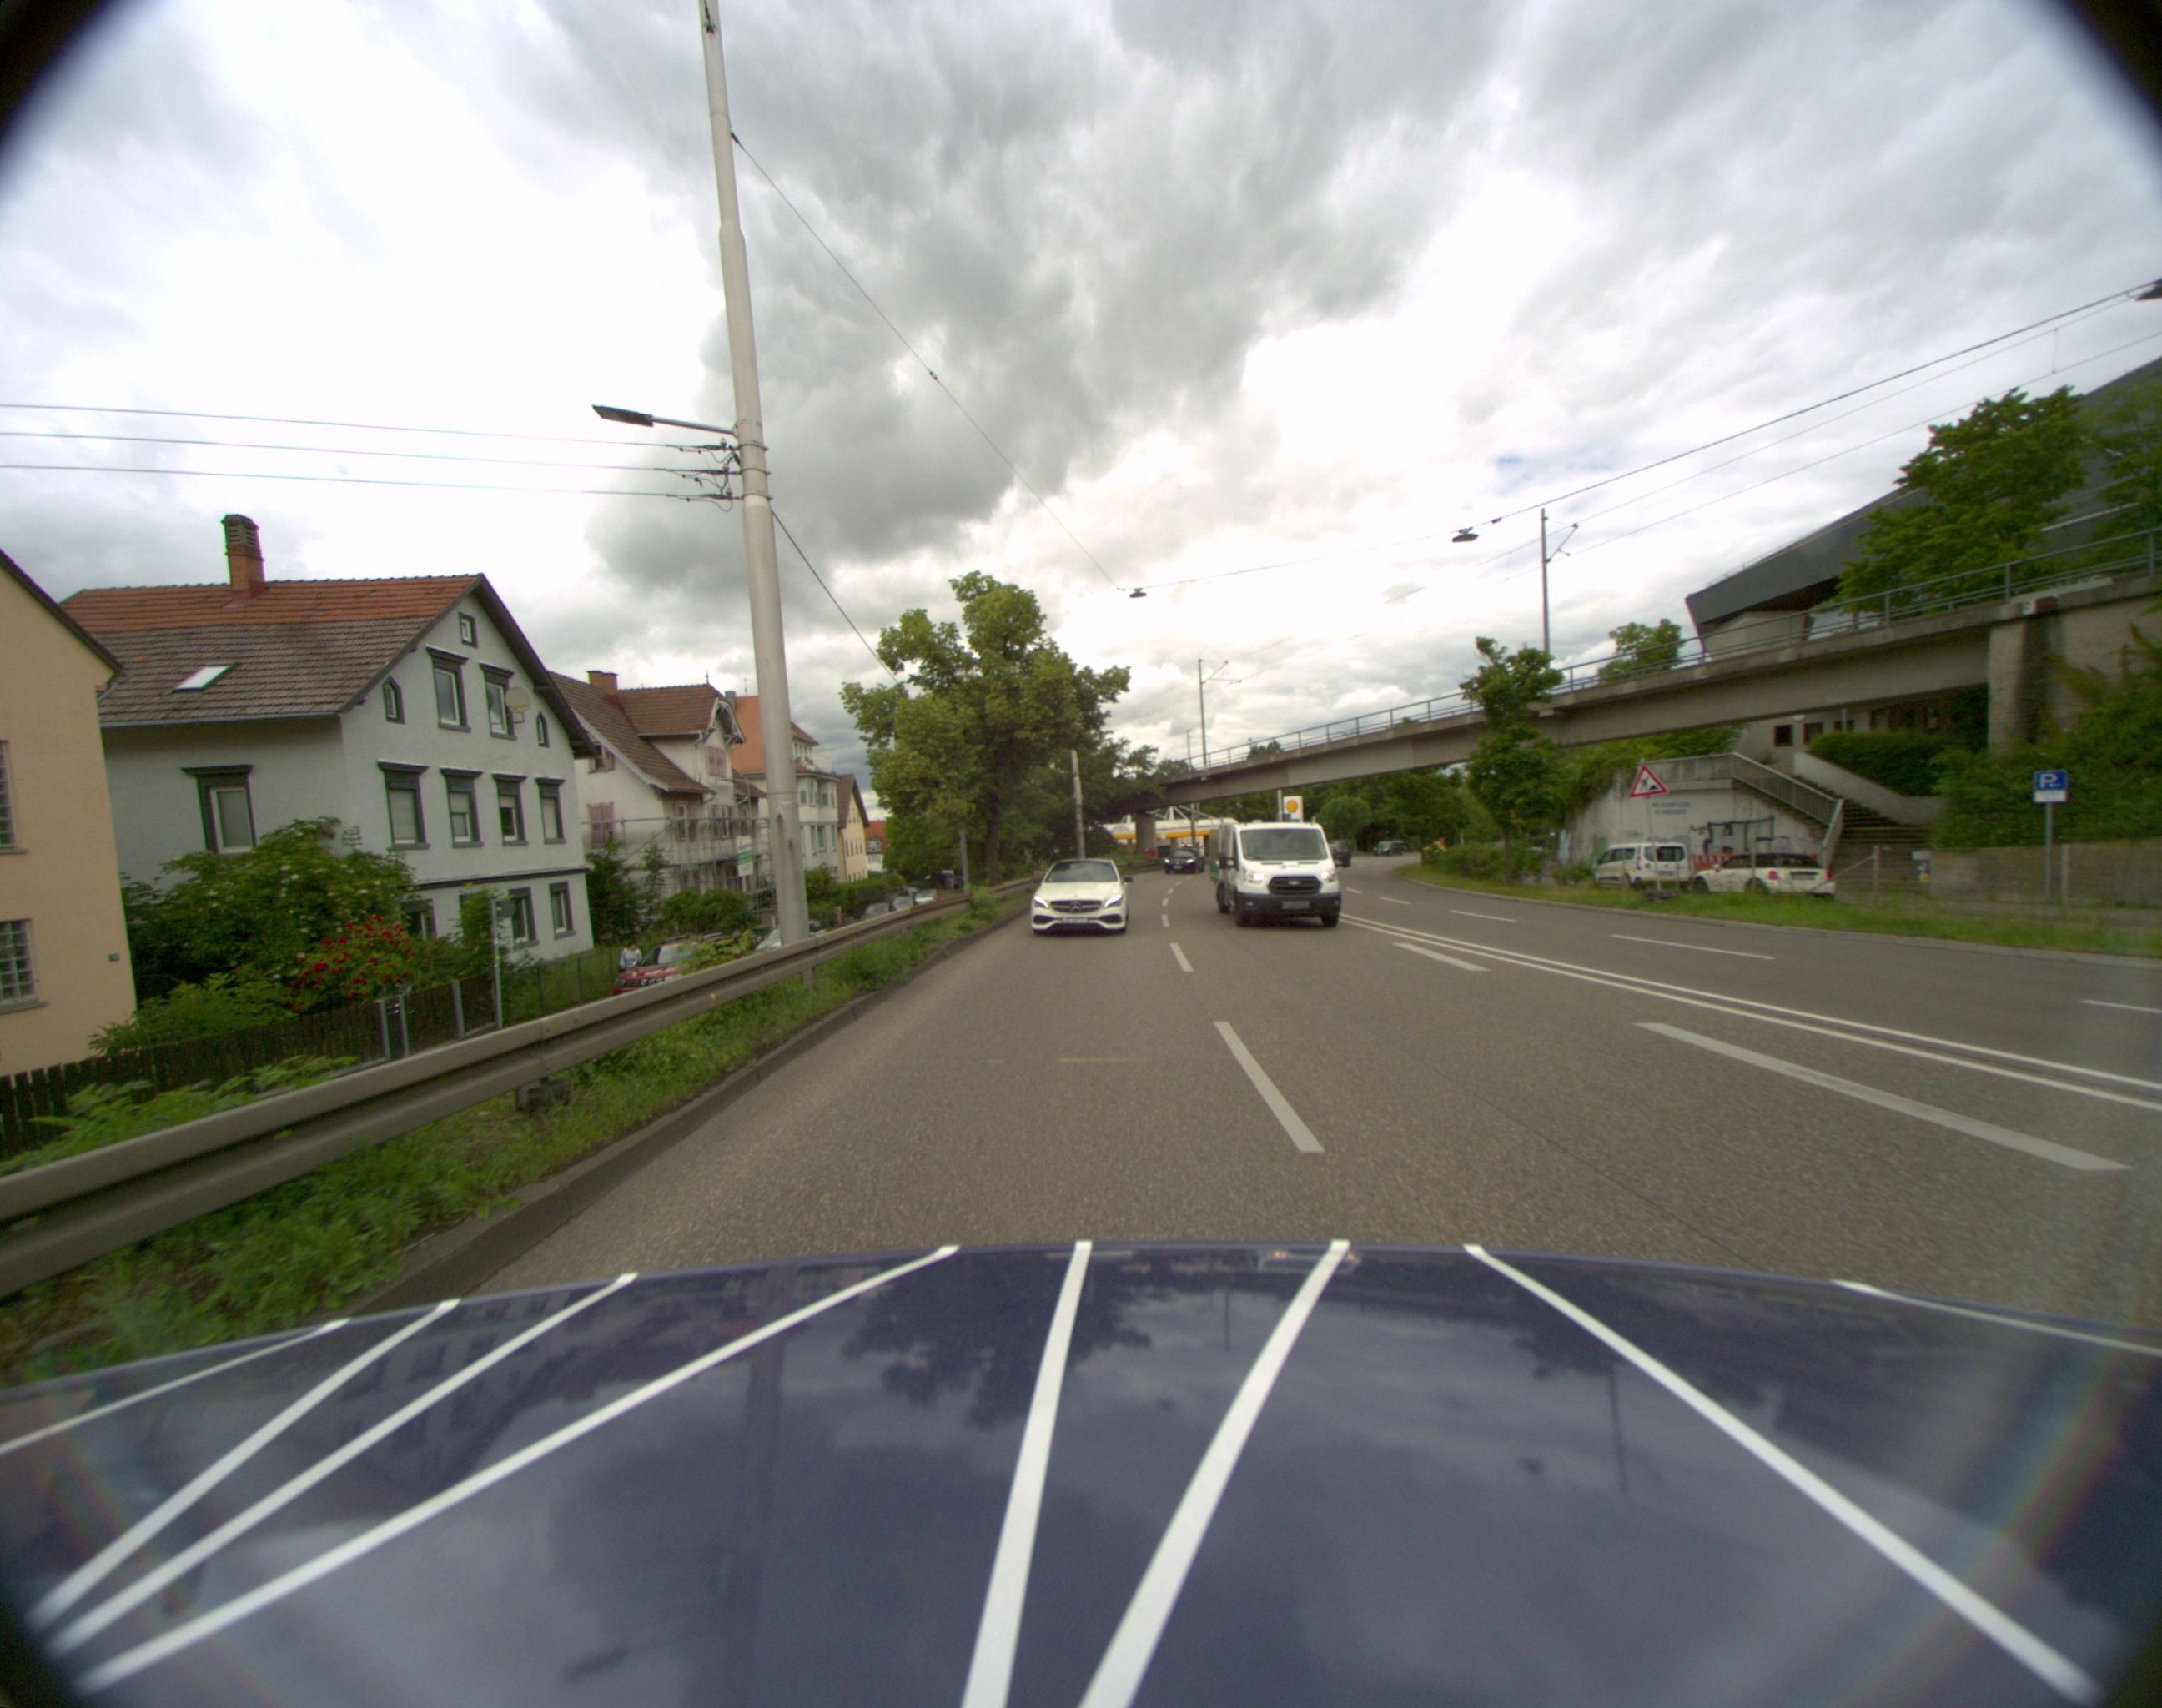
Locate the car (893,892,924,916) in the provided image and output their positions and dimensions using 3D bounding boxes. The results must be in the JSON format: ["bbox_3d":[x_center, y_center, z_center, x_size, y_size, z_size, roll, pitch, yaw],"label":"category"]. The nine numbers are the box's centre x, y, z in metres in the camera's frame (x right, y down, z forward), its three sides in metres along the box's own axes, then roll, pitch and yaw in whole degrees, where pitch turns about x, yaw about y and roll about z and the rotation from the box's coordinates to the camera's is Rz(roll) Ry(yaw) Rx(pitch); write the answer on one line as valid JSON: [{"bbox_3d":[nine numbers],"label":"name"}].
[{"bbox_3d":[-12.398,3.573,54.923,1.624,1.439,4.027,-4,0,-6],"label":"car"}]

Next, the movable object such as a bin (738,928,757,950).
[{"bbox_3d":[-14.674,3.737,33.475,0.538,0.877,0.580,-1,1,2],"label":"movable object such as a bin"}]

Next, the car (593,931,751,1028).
[{"bbox_3d":[-10.161,3.041,19.306,1.787,1.660,4.202,-4,0,-3],"label":"car"}]

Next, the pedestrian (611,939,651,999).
[{"bbox_3d":[-11.973,3.059,20.221,0.619,1.472,0.589,-4,1,-2],"label":"pedestrian"}]

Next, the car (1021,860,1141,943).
[{"bbox_3d":[0.146,0.880,15.566,1.820,1.339,4.002,-1,1,9],"label":"car"}]

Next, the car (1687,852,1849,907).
[{"bbox_3d":[19.615,0.668,21.936,1.769,1.411,3.806,0,1,12],"label":"car"}]

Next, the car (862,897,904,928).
[{"bbox_3d":[-11.714,3.466,45.261,1.623,1.439,4.056,-4,0,-4],"label":"car"}]

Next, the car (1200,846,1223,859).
[{"bbox_3d":[18.279,-0.238,106.321,1.724,1.428,4.098,-2,4,-13],"label":"car"}]

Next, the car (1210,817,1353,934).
[{"bbox_3d":[4.251,0.351,17.270,1.998,2.161,6.269,0,1,4],"label":"car"}]

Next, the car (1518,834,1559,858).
[{"bbox_3d":[44.485,-0.814,73.819,2.268,2.260,6.339,2,3,41],"label":"car"}]

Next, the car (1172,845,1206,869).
[{"bbox_3d":[6.767,0.135,47.380,1.732,1.403,4.003,0,1,13],"label":"car"}]

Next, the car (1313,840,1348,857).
[{"bbox_3d":[23.024,-0.485,70.004,1.726,1.469,4.008,-1,1,40],"label":"car"}]

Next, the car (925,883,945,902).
[{"bbox_3d":[-13.864,3.620,72.271,1.624,1.512,4.301,-4,0,-9],"label":"car"}]

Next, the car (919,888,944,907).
[{"bbox_3d":[-13.087,3.758,66.646,1.650,1.386,3.768,-4,0,-6],"label":"car"}]

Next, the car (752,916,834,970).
[{"bbox_3d":[-10.771,3.279,28.742,1.623,1.433,4.431,-4,0,-4],"label":"car"}]

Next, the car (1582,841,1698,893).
[{"bbox_3d":[20.804,0.402,28.516,1.769,1.775,4.468,1,1,12],"label":"car"}]

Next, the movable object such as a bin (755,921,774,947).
[{"bbox_3d":[-14.058,3.553,33.767,0.580,1.073,0.538,-1,1,2],"label":"movable object such as a bin"}]

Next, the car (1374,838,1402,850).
[{"bbox_3d":[37.021,-1.214,91.659,1.726,1.469,4.008,0,1,44],"label":"car"}]
